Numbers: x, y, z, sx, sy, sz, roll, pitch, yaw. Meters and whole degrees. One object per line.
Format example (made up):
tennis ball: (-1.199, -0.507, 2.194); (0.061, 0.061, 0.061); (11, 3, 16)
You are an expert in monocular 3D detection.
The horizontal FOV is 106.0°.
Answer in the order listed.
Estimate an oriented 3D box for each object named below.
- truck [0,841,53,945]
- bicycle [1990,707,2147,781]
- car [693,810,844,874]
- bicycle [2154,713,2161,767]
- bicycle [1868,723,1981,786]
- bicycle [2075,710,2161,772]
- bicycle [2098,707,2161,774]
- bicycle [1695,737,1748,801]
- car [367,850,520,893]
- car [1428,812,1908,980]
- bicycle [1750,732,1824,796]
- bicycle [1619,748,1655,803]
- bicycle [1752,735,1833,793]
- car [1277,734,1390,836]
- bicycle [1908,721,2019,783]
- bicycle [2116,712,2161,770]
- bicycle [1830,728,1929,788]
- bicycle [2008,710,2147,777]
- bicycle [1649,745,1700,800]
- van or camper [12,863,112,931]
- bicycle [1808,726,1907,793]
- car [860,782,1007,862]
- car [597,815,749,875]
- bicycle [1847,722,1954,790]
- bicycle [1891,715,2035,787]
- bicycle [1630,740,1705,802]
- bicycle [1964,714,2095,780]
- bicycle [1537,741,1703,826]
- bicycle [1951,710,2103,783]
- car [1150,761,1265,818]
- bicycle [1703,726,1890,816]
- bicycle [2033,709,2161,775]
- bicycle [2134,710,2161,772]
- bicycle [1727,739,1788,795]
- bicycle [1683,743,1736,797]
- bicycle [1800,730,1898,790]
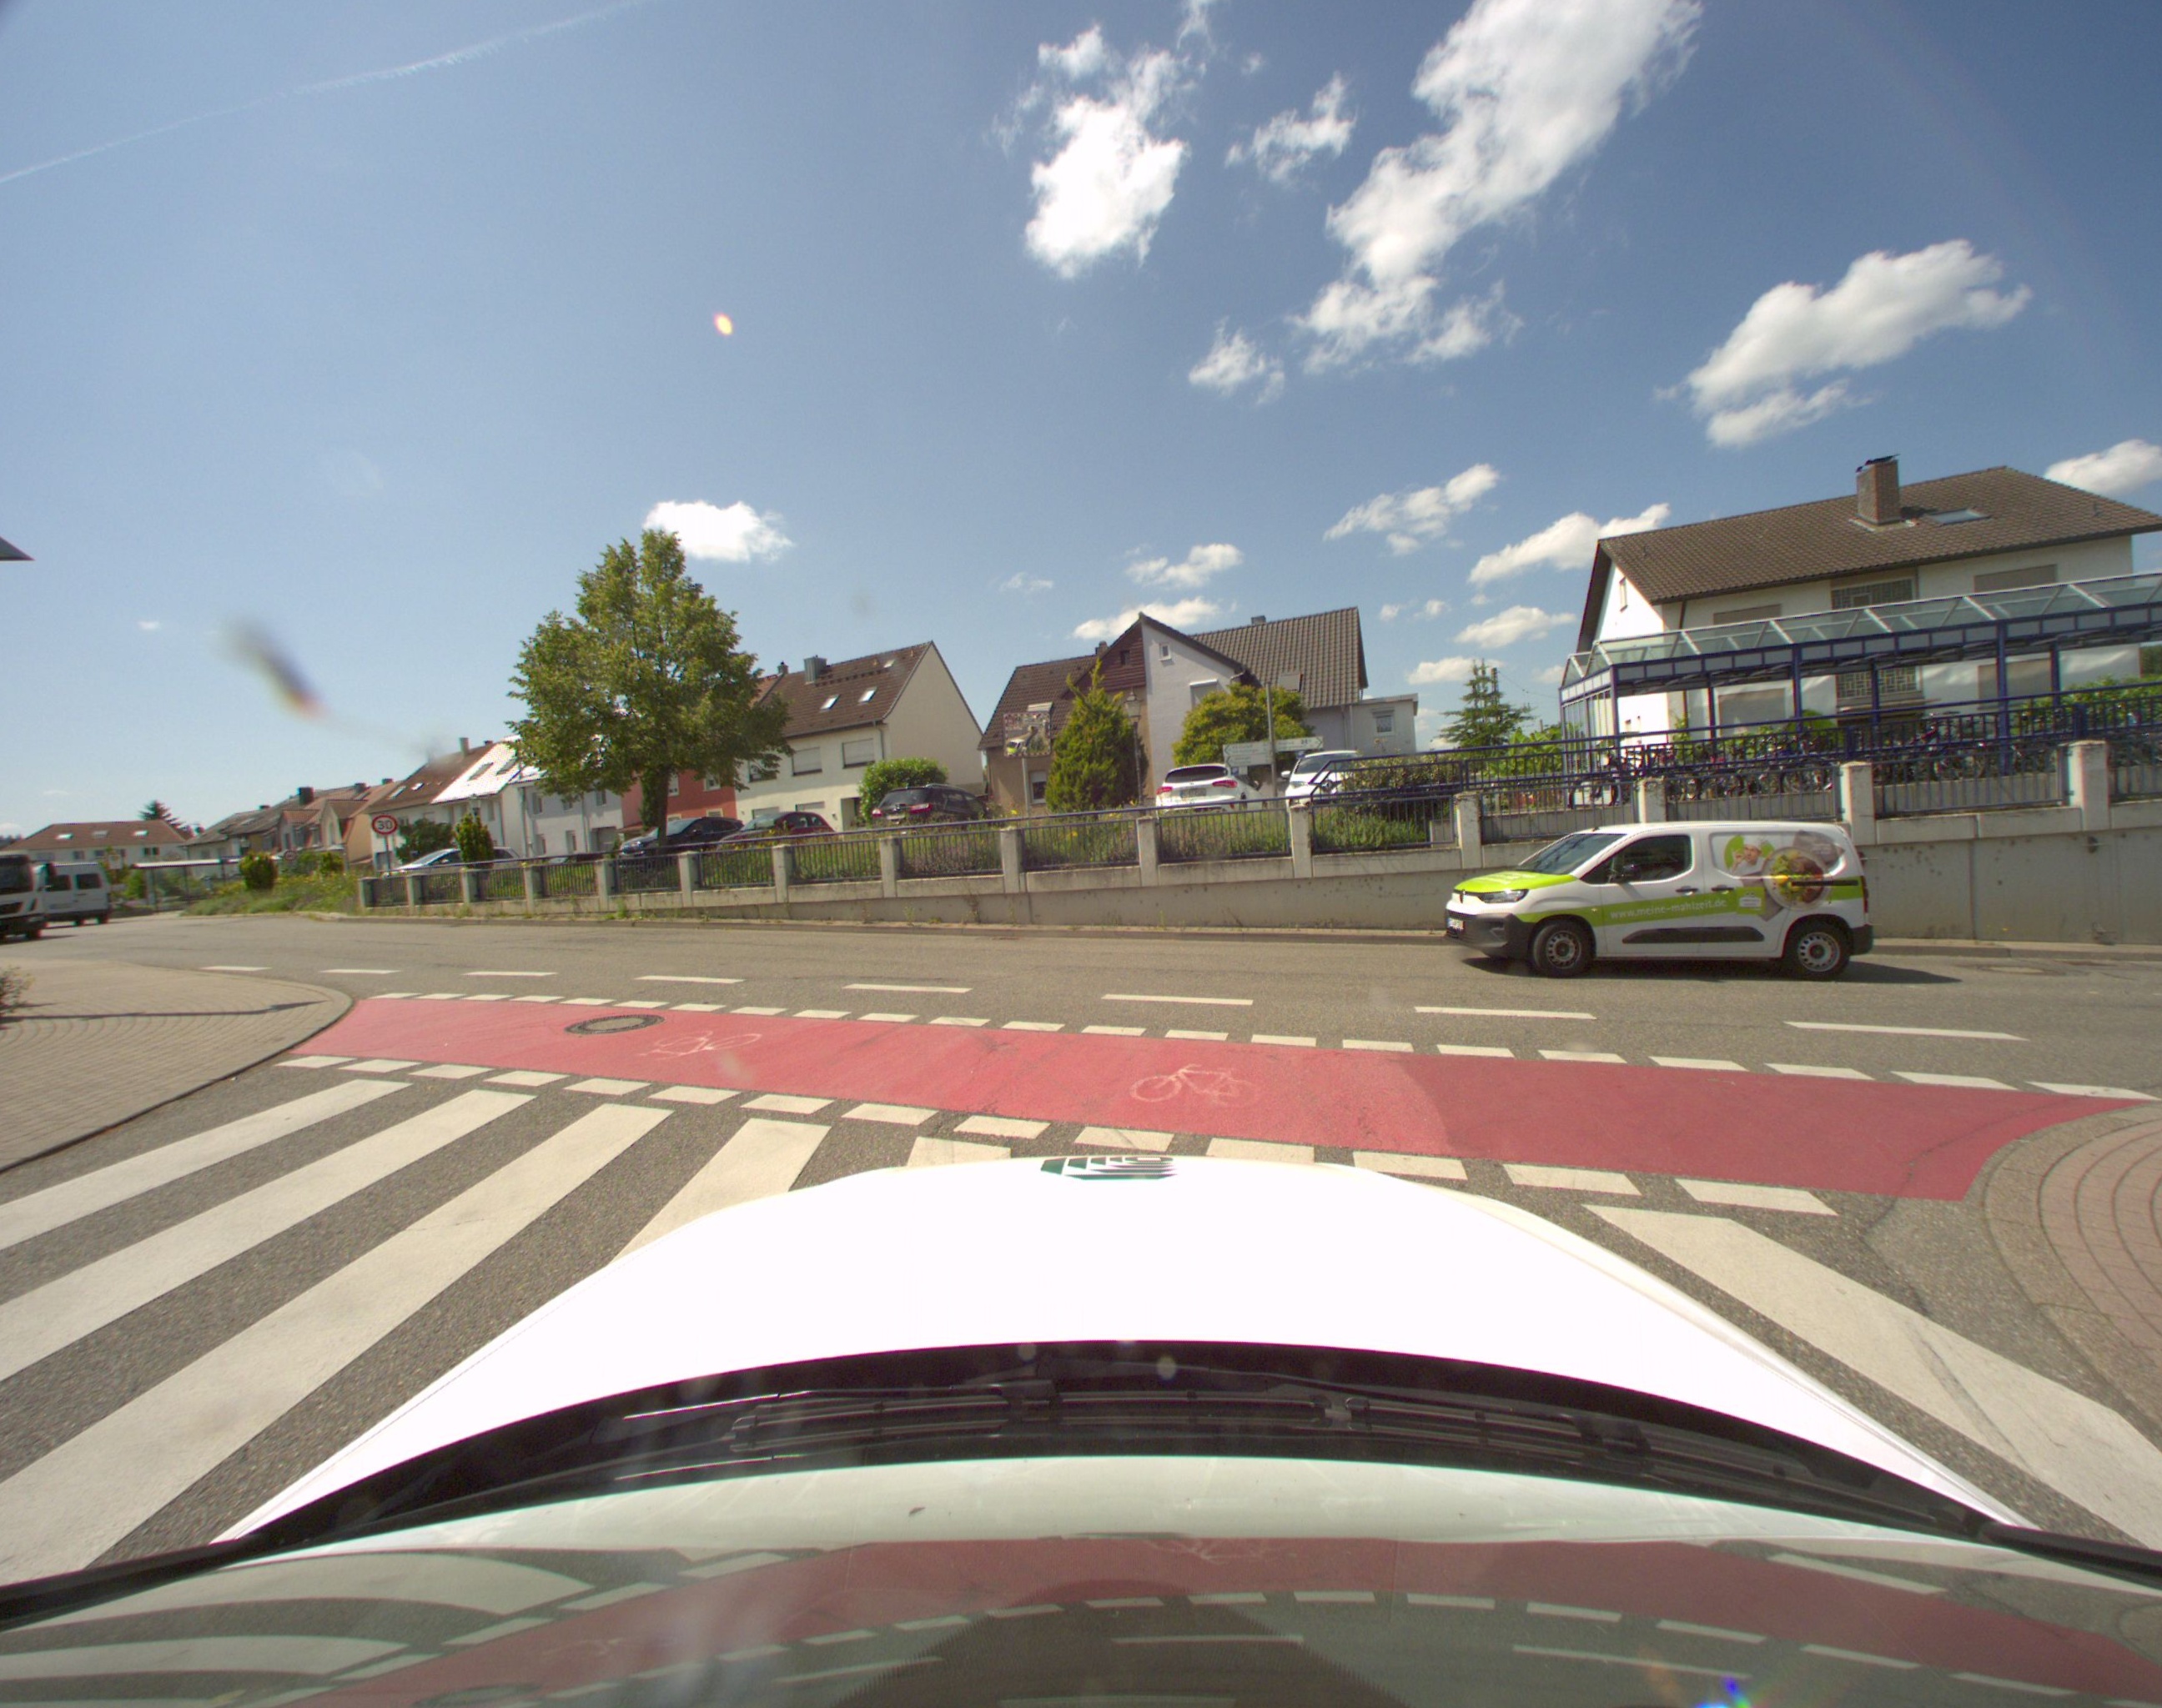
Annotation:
truck: (-33.980, 1.250, 24.572); (7.967, 2.876, 2.636); (-2, 3, 32)
bicycle: (16.231, -1.767, 13.475); (0.528, 0.994, 2.198); (-3, 2, 17)
car: (-8.328, -0.332, 22.058); (1.851, 1.586, 3.628); (0, 1, 20)
bicycle: (20.181, -2.096, 14.293); (0.515, 0.994, 1.974); (-3, 2, 15)
bicycle: (15.885, -1.842, 15.398); (0.515, 0.994, 1.974); (-3, 2, 15)
bicycle: (19.098, -2.033, 14.615); (0.515, 0.994, 1.974); (-3, 2, 15)
bicycle: (17.027, -1.796, 12.739); (0.573, 0.994, 2.202); (-3, 2, 29)
bicycle: (11.106, -1.443, 14.164); (0.431, 0.994, 2.116); (-3, 2, 31)
car: (-24.381, 0.617, 31.322); (1.726, 1.488, 4.282); (0, 1, 27)
car: (6.906, 0.440, 10.035); (4.523, 1.854, 1.821); (0, 1, 5)
bicycle: (12.133, -1.509, 14.050); (0.431, 0.994, 2.115); (-3, 2, 27)
bicycle: (11.137, -1.551, 16.336); (0.451, 0.994, 1.900); (-3, 2, 31)
bicycle: (13.967, -1.734, 16.045); (0.422, 0.994, 1.975); (-3, 2, 18)
car: (5.340, -1.288, 16.886); (1.977, 1.797, 4.218); (0, 1, 20)
bicycle: (16.564, -1.886, 15.345); (0.515, 0.994, 1.809); (-3, 2, 15)
bicycle: (19.653, -2.065, 14.434); (0.515, 0.994, 1.974); (-3, 2, 15)
bicycle: (15.192, -1.800, 15.555); (0.411, 0.994, 1.974); (-3, 2, 15)
bicycle: (17.914, -1.956, 14.707); (0.515, 0.994, 1.974); (-3, 2, 15)
bicycle: (11.838, -1.597, 16.282); (0.369, 0.994, 1.977); (-3, 2, 24)
van or camper: (-42.636, 1.728, 34.051); (5.324, 2.630, 2.017); (-1, 0, 32)
bicycle: (13.265, -1.583, 13.980); (0.431, 0.994, 2.294); (-3, 2, 23)
car: (-3.593, -0.762, 20.600); (1.851, 1.797, 4.021); (0, 1, 20)
car: (-11.742, -0.277, 23.692); (1.851, 1.586, 3.628); (0, 1, 20)
bicycle: (13.814, -1.614, 13.799); (0.431, 0.994, 2.294); (-3, 2, 23)
bicycle: (14.520, -1.652, 13.504); (0.528, 0.994, 2.292); (-3, 2, 17)
bicycle: (10.588, -1.462, 14.771); (0.329, 0.994, 2.084); (-3, 2, 14)
bicycle: (17.190, -1.911, 14.822); (0.515, 0.994, 1.974); (-3, 2, 15)
bicycle: (8.253, -1.063, 12.523); (2.099, 1.125, 0.334); (-3, 2, 14)
bicycle: (15.507, -1.717, 13.436); (0.528, 0.994, 2.198); (-3, 2, 17)
car: (2.861, -1.338, 17.765); (1.809, 1.019, 3.477); (0, 1, 20)
bicycle: (10.475, -1.196, 11.980); (2.099, 1.125, 0.394); (-3, 2, 14)
bicycle: (18.522, -2.001, 14.813); (0.515, 0.994, 1.974); (-3, 2, 15)
bicycle: (17.844, -1.856, 12.862); (0.511, 0.994, 2.050); (-3, 2, 22)
bicycle: (13.313, -1.690, 16.072); (0.369, 0.994, 1.977); (-3, 2, 24)
bicycle: (12.673, -1.660, 16.459); (0.369, 0.994, 1.977); (-3, 2, 24)
bicycle: (14.739, -1.774, 15.692); (0.470, 0.994, 1.974); (-3, 2, 15)
